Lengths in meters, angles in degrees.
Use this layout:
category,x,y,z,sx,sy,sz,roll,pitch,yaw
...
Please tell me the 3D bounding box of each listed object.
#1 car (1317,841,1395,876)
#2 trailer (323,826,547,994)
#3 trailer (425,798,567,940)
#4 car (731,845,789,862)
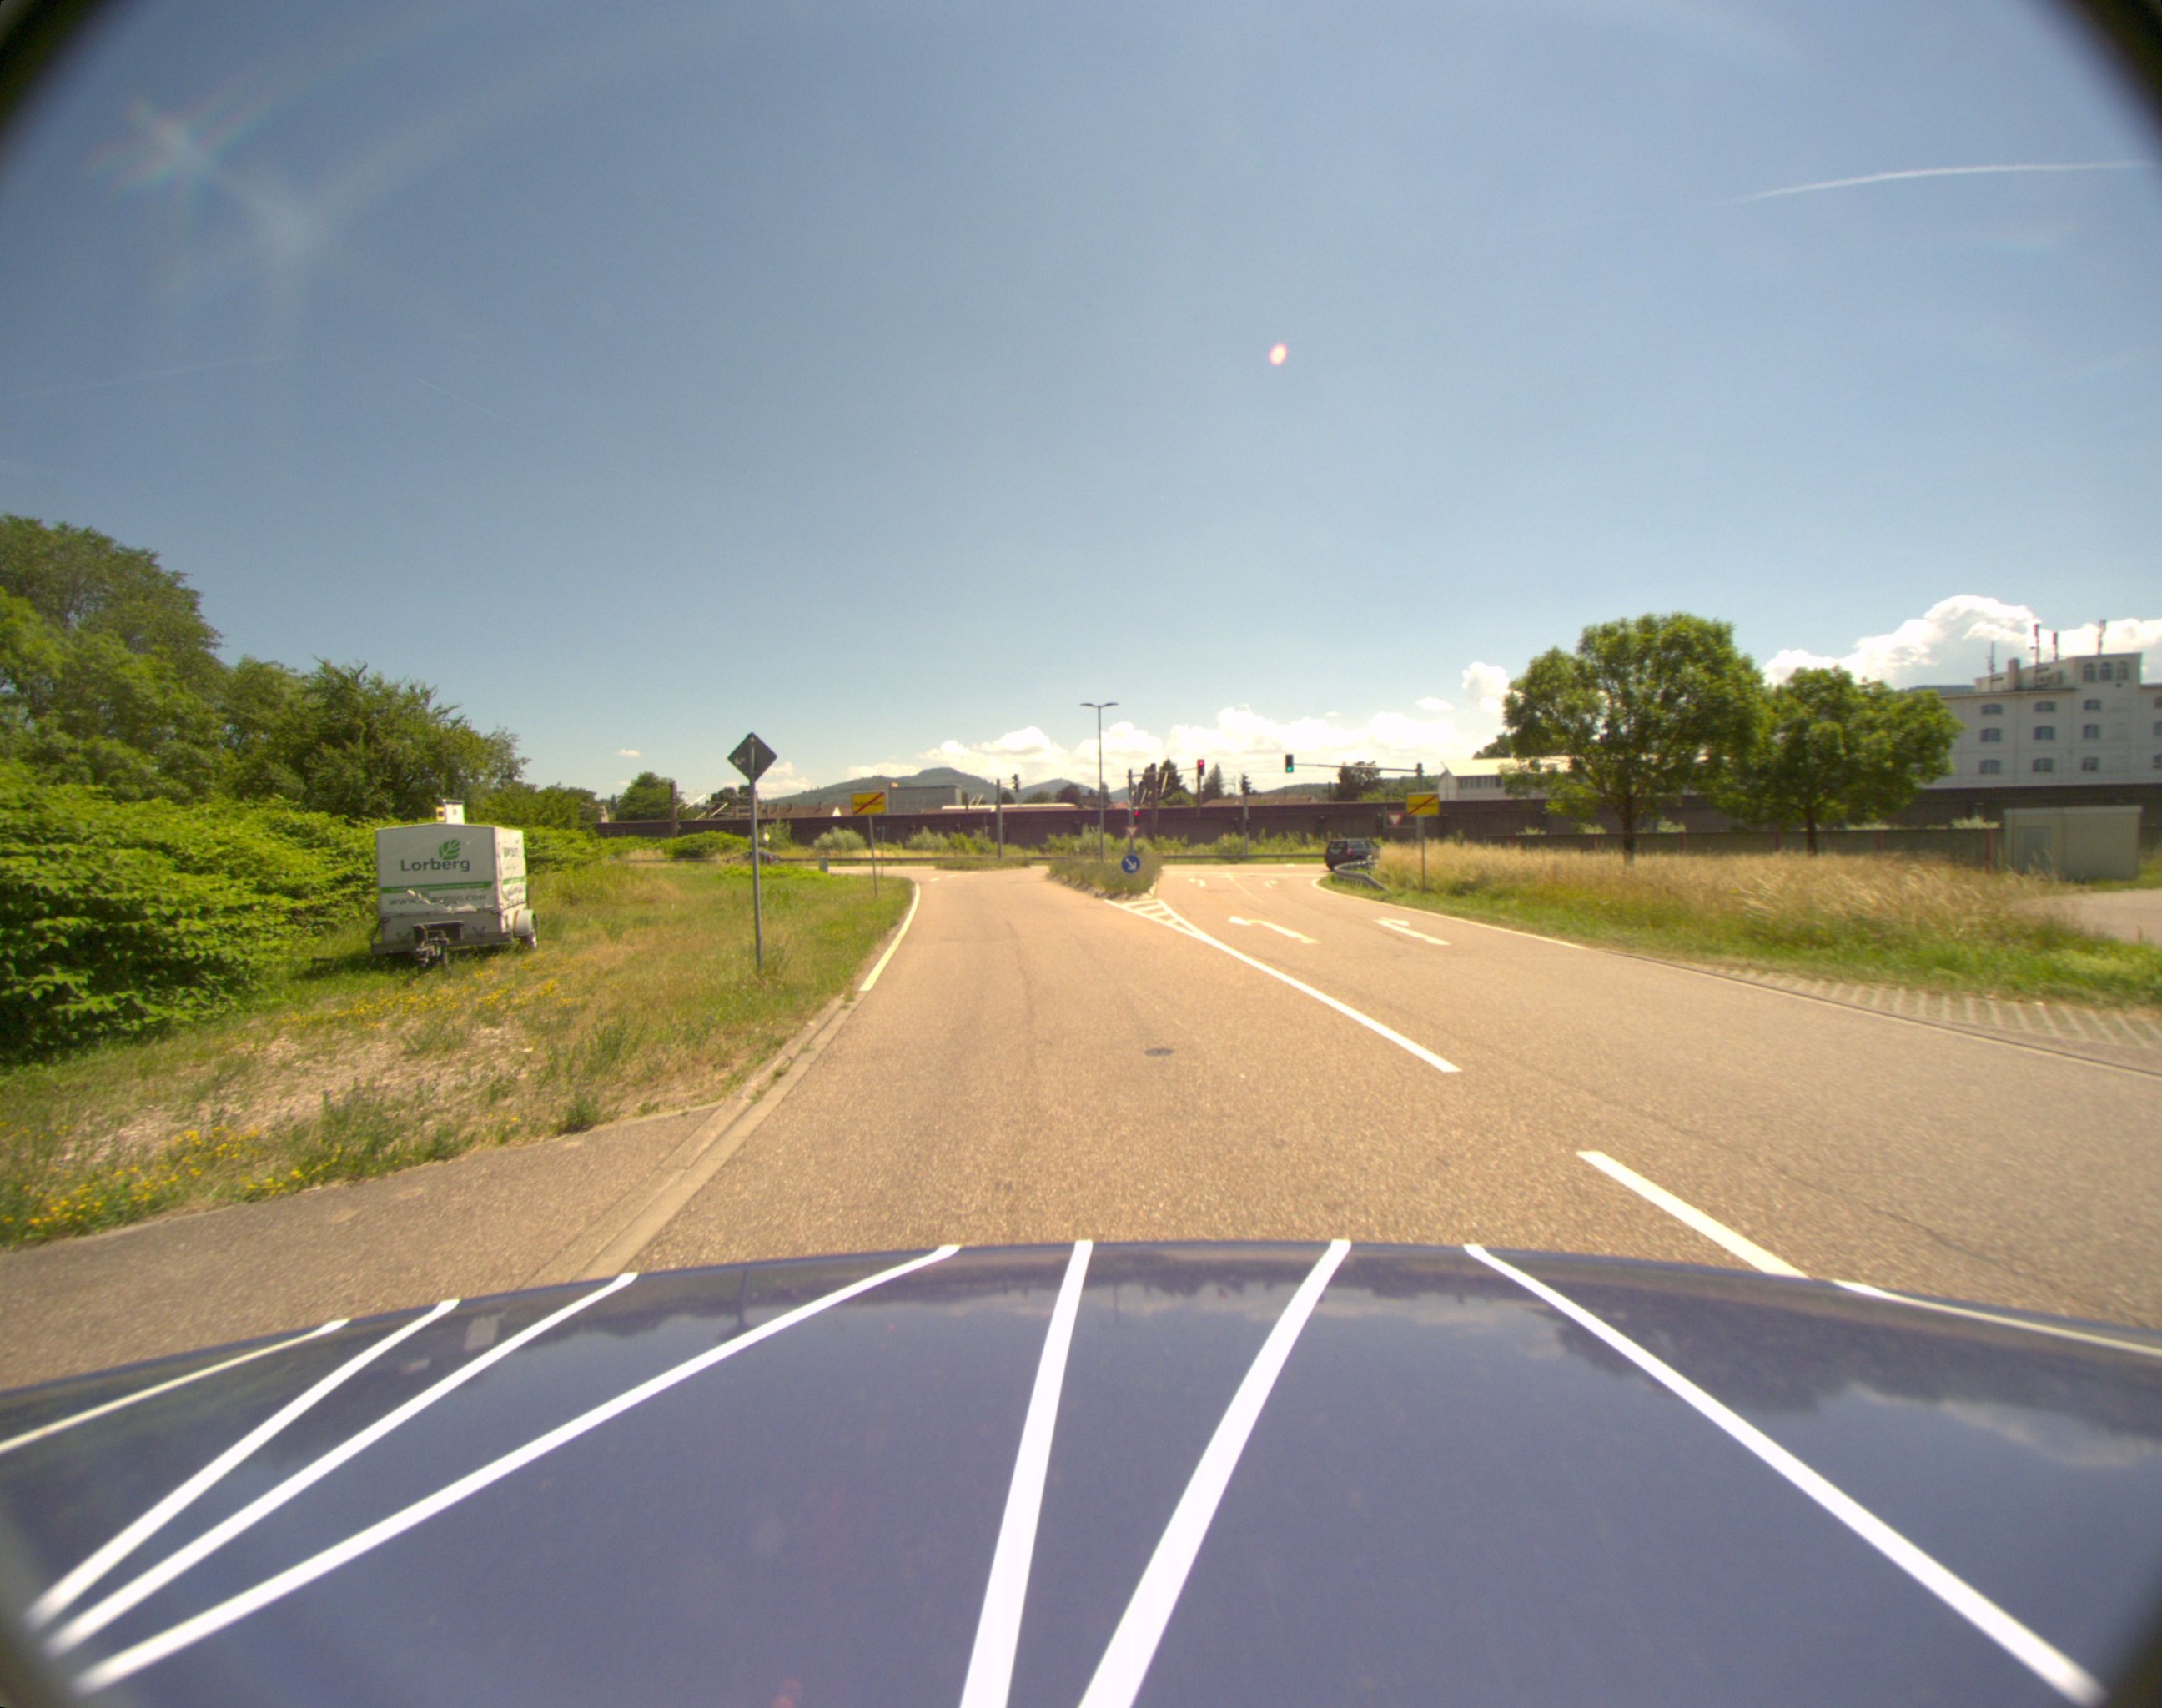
category,x,y,z,sx,sy,sz,roll,pitch,yaw
car,15.545,0.183,42.838,4.491,1.713,1.994,-2,4,-37
trailer,-9.586,0.662,11.657,1.854,2.066,3.959,-3,2,-30
trailer,-12.110,0.232,15.944,1.854,2.655,3.139,-3,2,-30
car,-28.239,-0.018,66.803,4.509,1.446,1.791,0,1,15
